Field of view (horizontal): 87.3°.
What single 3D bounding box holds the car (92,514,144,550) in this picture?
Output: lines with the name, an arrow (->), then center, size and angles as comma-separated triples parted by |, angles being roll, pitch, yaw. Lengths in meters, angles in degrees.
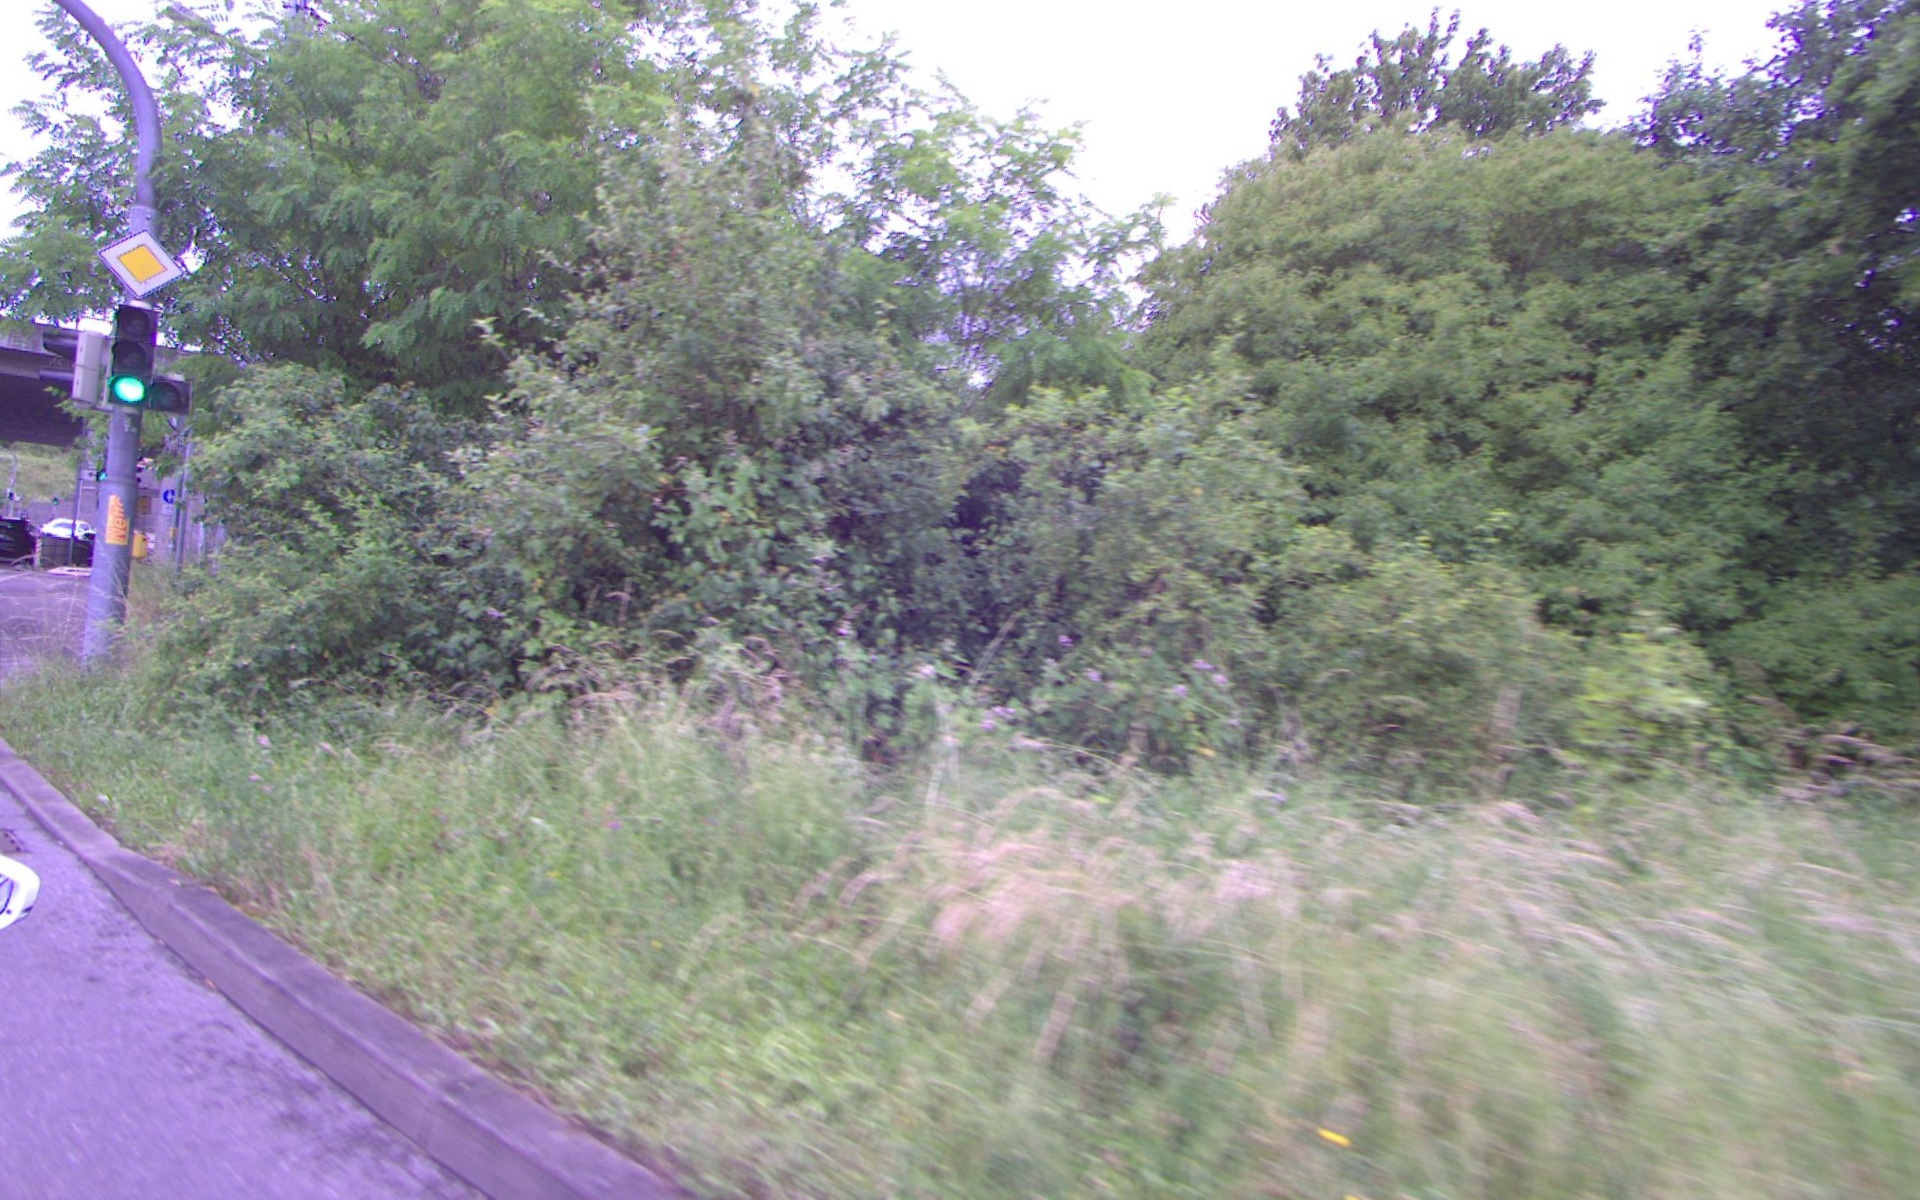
car -> -48.425, -3.879, 57.914 | 1.820, 1.726, 3.833 | 8, -2, -35

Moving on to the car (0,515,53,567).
car -> -30.887, -1.989, 32.489 | 1.890, 1.484, 3.960 | 7, -1, -37

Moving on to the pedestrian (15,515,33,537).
pedestrian -> -74.614, -5.911, 80.192 | 0.949, 1.632, 0.691 | 7, 0, -43

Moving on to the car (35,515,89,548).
car -> -56.829, -4.291, 63.731 | 1.771, 1.679, 4.075 | 7, -2, -33

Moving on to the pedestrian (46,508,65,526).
pedestrian -> -70.145, -6.454, 78.005 | 0.908, 1.237, 0.721 | 11, -3, -42

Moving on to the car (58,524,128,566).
car -> -40.400, -2.541, 46.964 | 1.982, 1.637, 3.963 | 7, -1, -35
